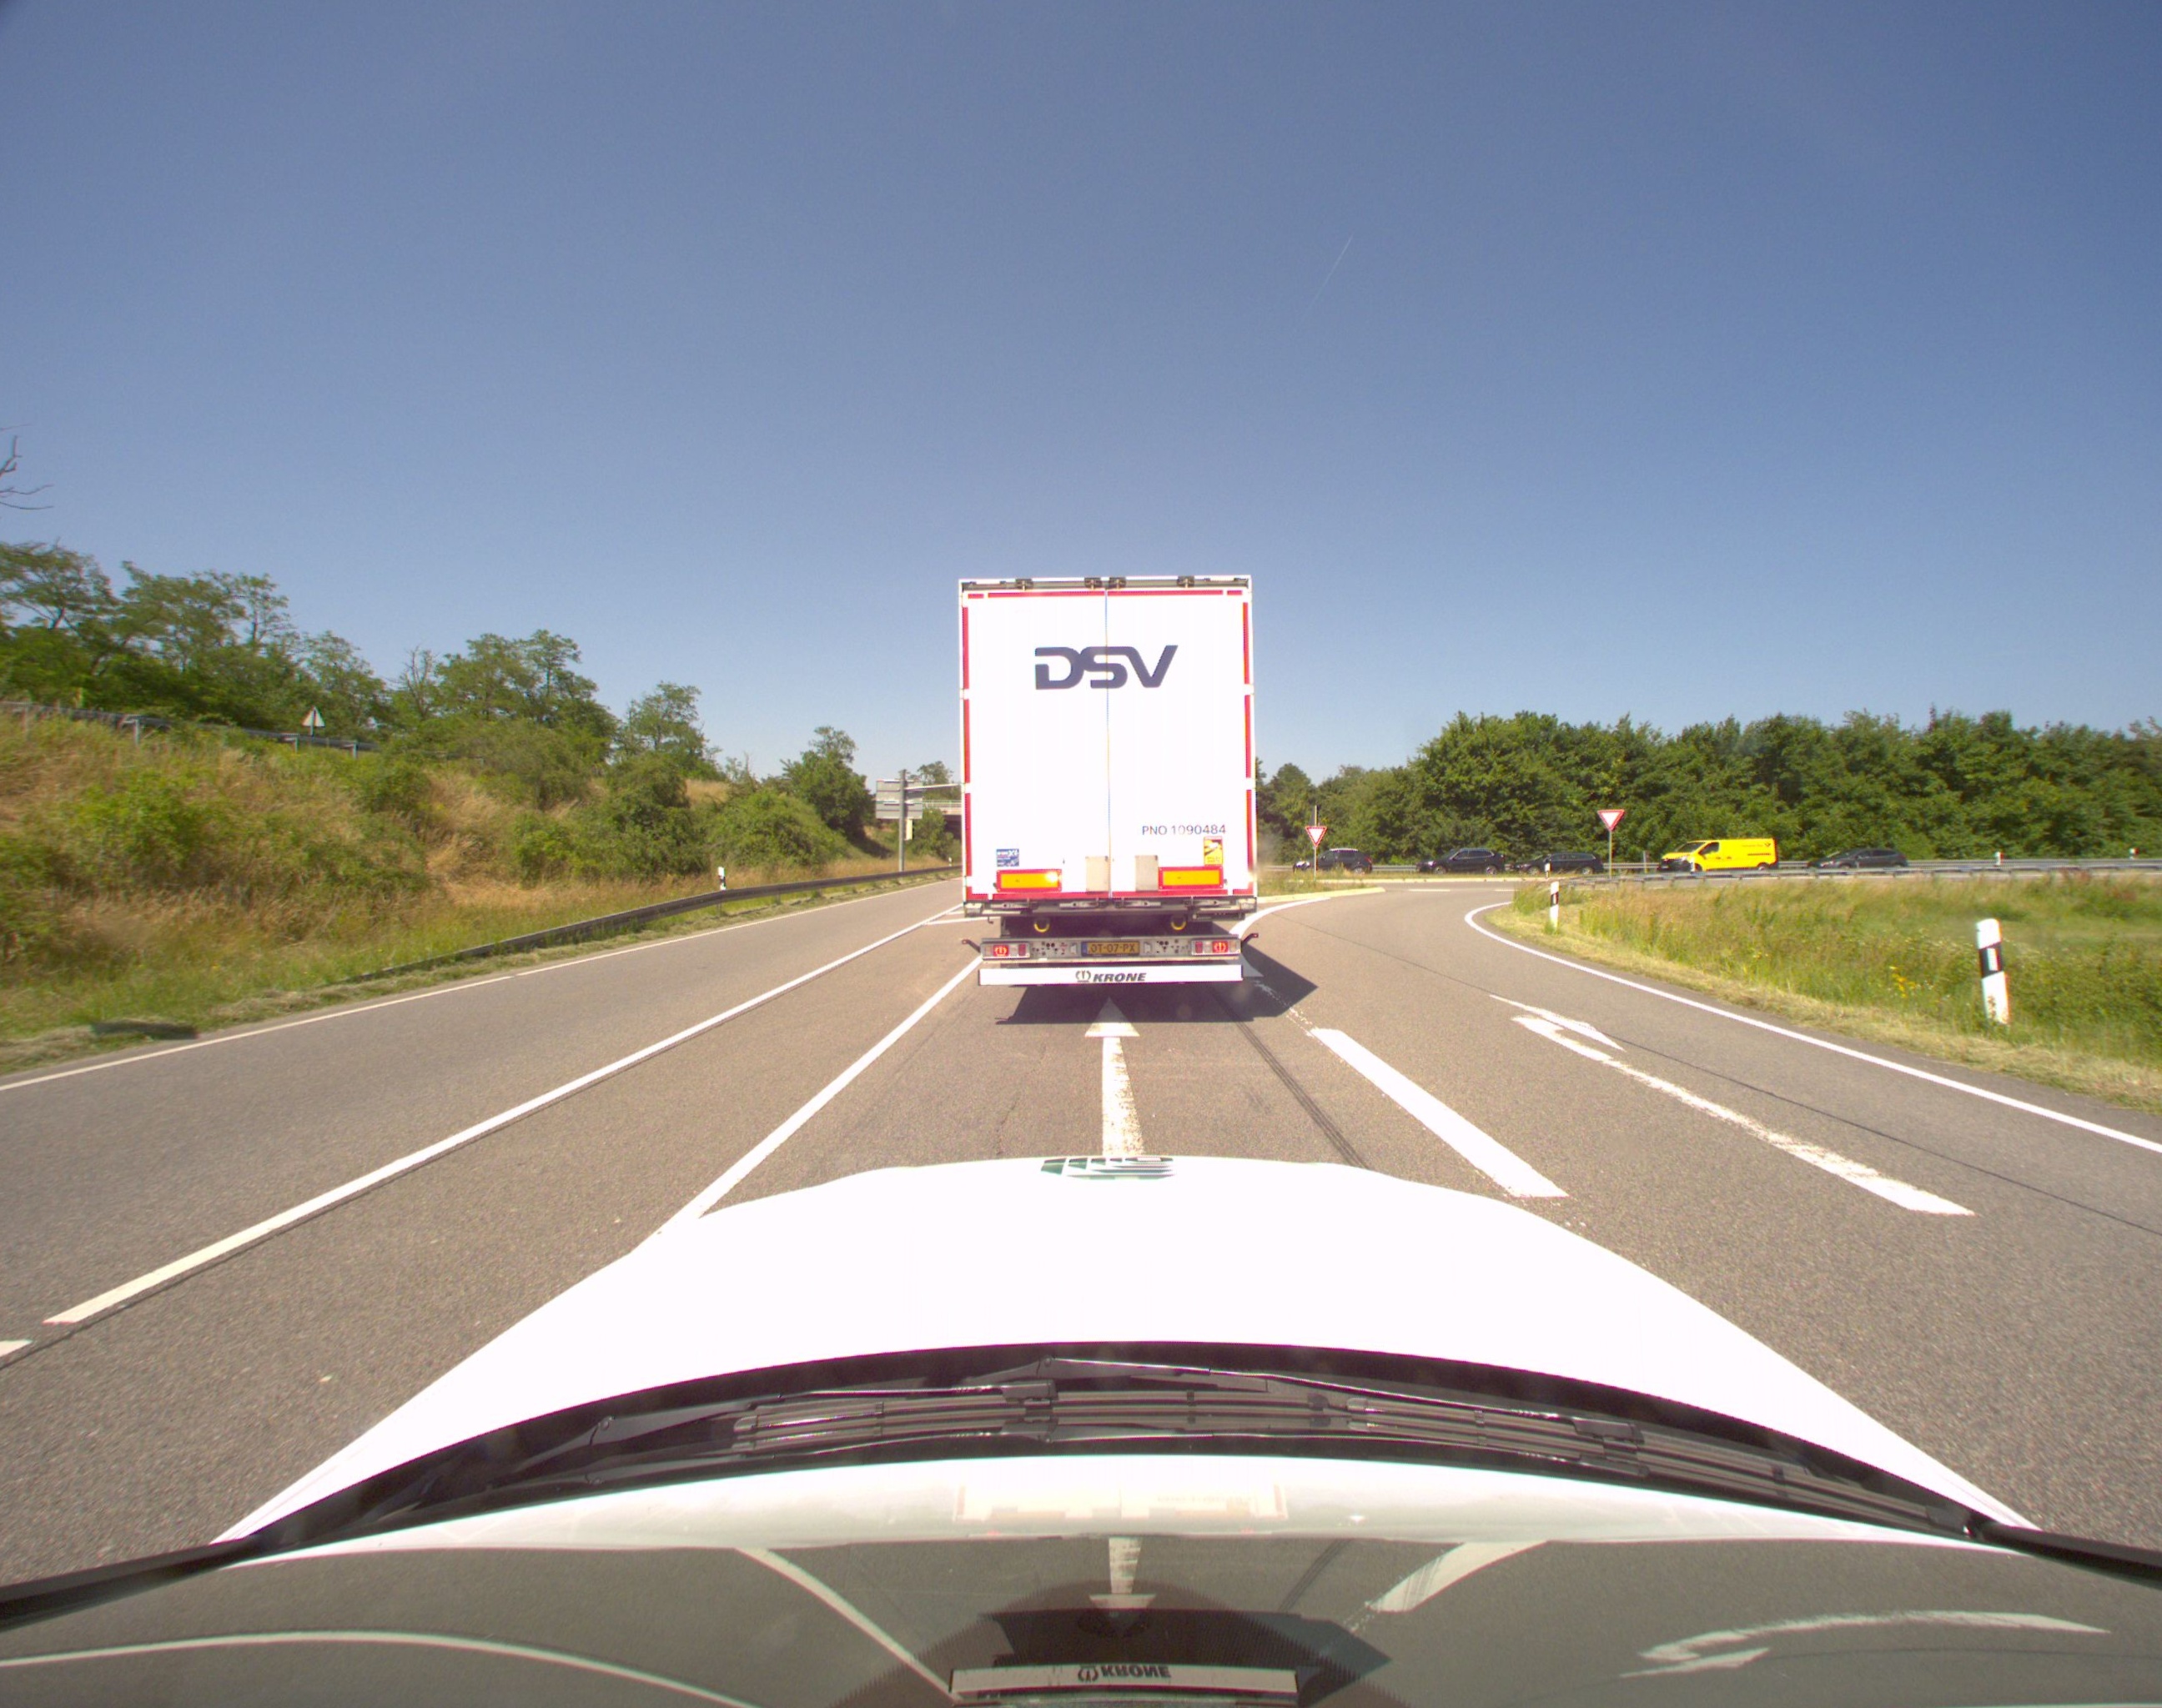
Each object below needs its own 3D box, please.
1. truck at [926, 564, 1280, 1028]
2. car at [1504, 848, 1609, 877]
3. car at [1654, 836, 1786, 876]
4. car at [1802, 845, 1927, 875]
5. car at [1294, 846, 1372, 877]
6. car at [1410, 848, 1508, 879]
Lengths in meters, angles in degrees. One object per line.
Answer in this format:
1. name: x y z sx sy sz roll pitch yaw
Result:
1. truck: 0.295 -0.478 11.906 2.977 3.942 9.877 -1 0 1
2. car: 26.192 0.490 44.967 4.655 1.514 1.858 -1 -1 8
3. car: 33.640 0.115 42.995 5.300 2.014 2.001 -1 -1 2
4. car: 41.187 0.327 42.886 4.662 1.514 1.855 -1 -1 3
5. car: 14.148 0.438 45.896 3.964 1.640 1.845 -1 -1 7
6. car: 20.230 0.496 43.712 4.466 1.598 1.769 -1 -1 4
